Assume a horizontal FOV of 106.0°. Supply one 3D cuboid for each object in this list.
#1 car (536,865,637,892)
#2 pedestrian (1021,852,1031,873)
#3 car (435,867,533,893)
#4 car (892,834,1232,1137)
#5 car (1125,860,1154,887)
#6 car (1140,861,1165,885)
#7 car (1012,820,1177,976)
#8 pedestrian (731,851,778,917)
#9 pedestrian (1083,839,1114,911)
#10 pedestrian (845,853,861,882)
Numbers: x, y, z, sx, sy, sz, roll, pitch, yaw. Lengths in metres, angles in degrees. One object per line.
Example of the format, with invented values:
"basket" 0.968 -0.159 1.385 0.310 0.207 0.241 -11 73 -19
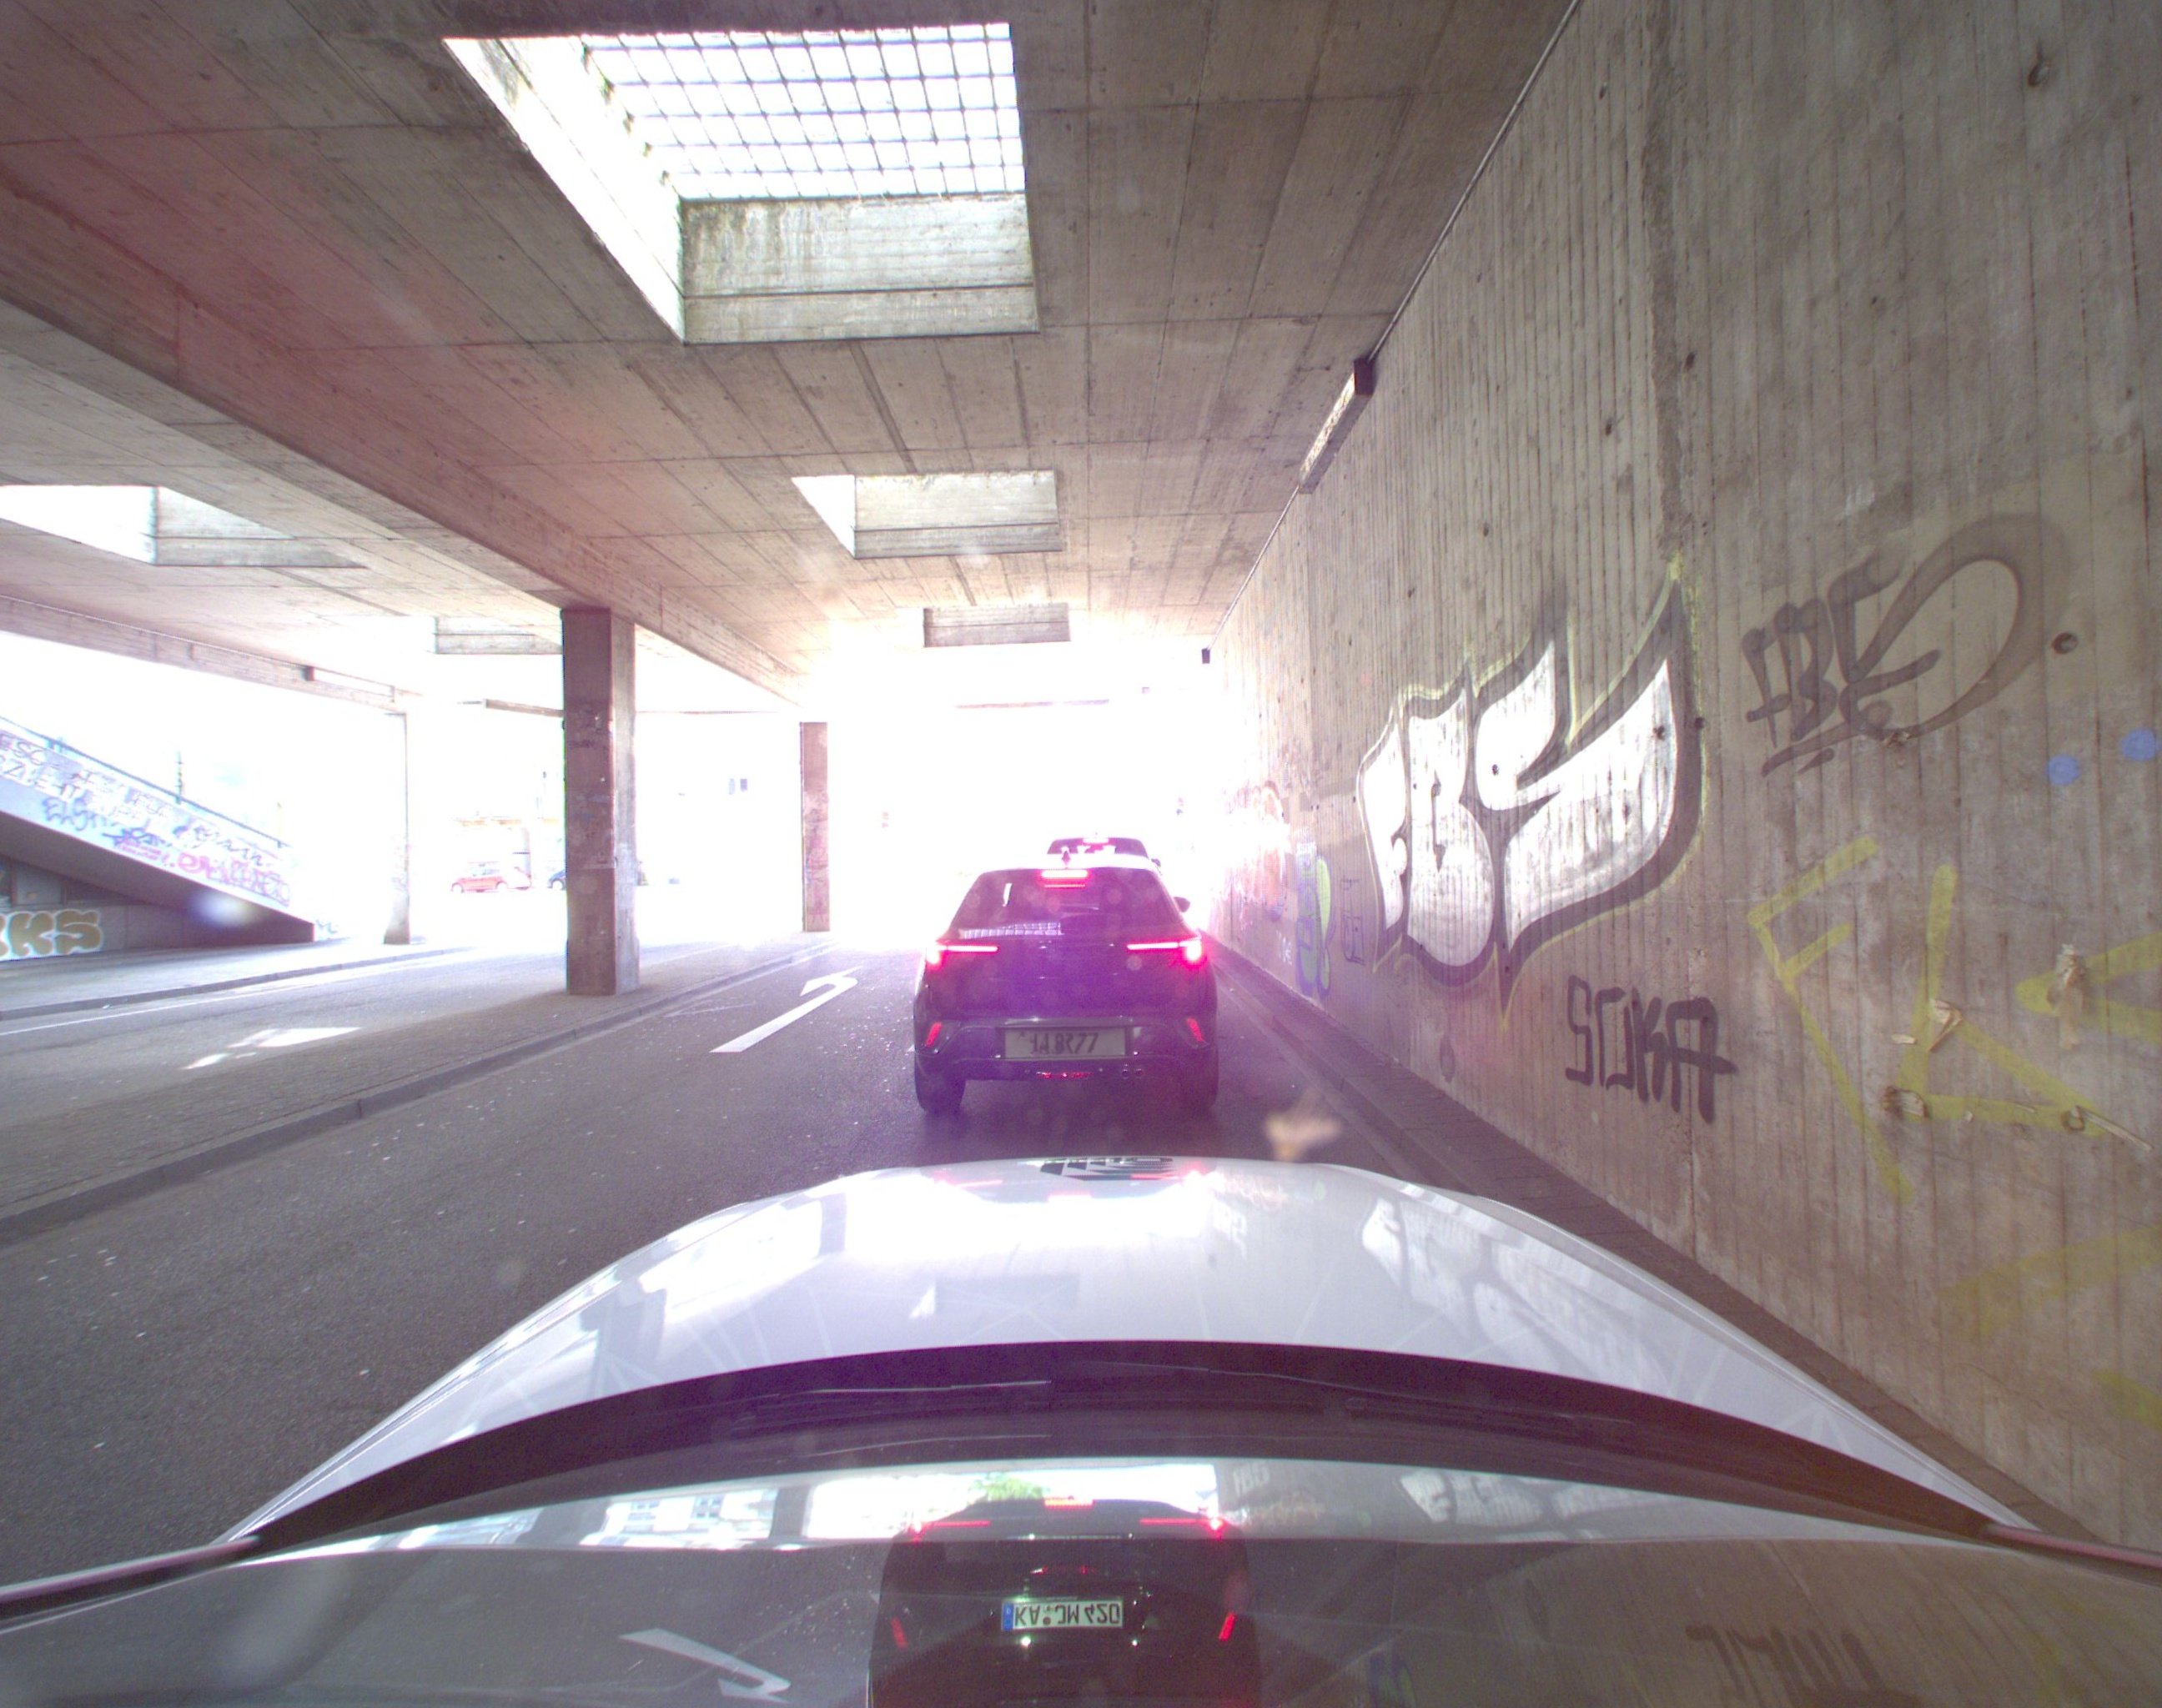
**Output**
"car" -27.359 1.325 45.167 4.393 1.409 1.925 0 -1 -1
"pedestrian" -5.536 0.820 82.302 0.887 2.088 0.810 -1 -1 9
"car" -33.126 1.427 45.294 3.975 1.409 1.925 0 -1 -1
"car" -0.036 0.651 6.244 1.758 1.571 4.002 0 1 2
"car" 4.505 1.434 62.289 1.983 1.970 4.172 0 -1 7
"car" 6.047 1.593 68.472 1.983 1.970 4.172 0 -1 7
"car" 0.234 0.541 12.055 1.986 1.871 4.002 -2 0 2
"pedestrian" -8.915 0.816 22.267 0.925 1.762 0.795 0 -1 3
"pedestrian" 0.428 0.515 20.027 0.728 1.734 0.874 0 -1 1
"pedestrian" -13.156 0.780 47.015 0.669 1.637 0.741 0 -1 1
